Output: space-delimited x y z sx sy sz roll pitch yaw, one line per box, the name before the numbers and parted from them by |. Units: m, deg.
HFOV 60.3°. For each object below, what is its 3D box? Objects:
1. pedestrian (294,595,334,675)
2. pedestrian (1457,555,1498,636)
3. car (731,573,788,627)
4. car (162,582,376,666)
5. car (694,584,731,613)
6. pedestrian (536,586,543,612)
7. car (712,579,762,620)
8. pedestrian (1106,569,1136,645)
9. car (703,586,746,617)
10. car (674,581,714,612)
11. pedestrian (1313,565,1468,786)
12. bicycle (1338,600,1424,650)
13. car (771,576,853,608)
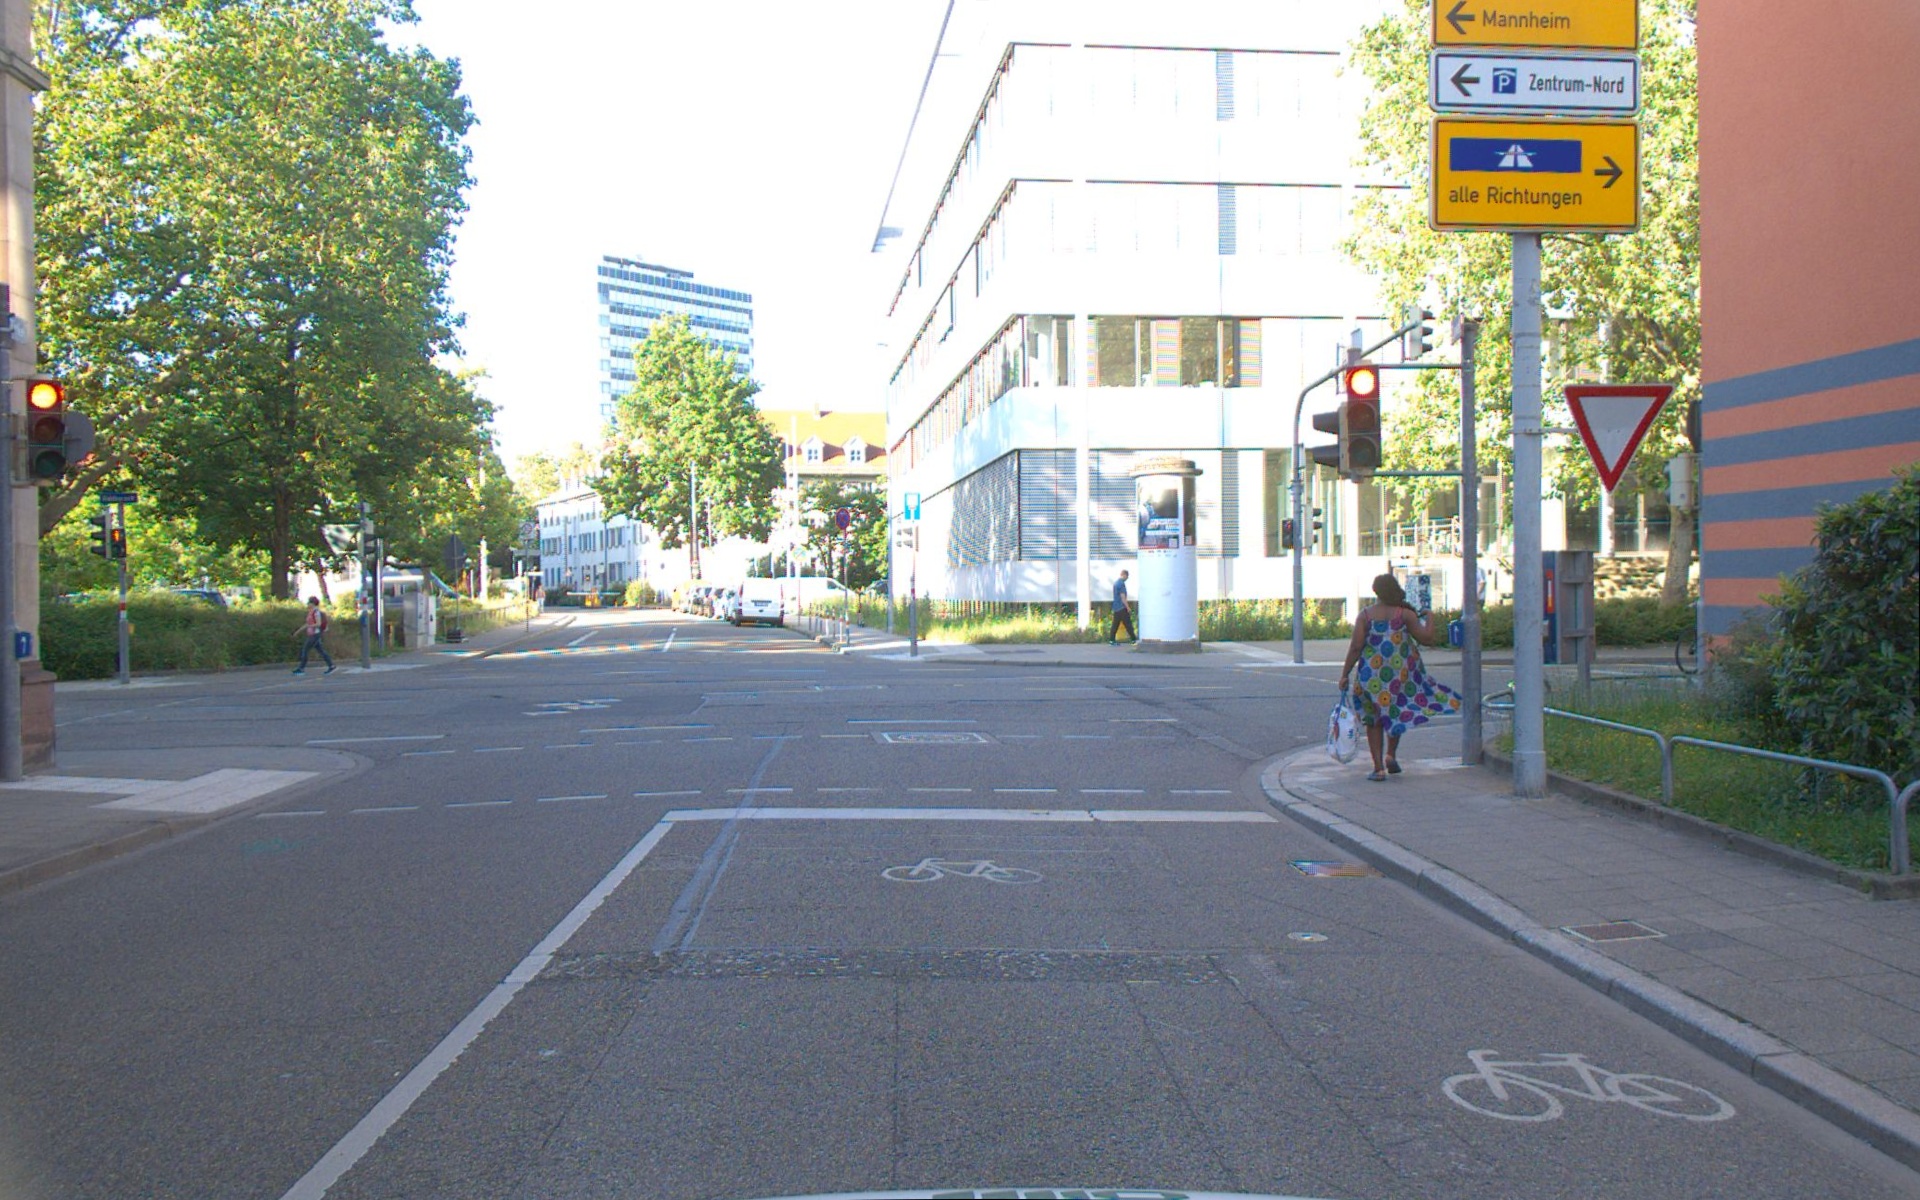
pedestrian | -13.302 0.709 34.055 0.703 1.627 0.612 -1 0 -26
pedestrian | 12.171 -0.112 38.901 0.527 1.863 1.039 -1 0 -6
car | -7.862 -0.030 64.529 2.029 1.997 4.229 -1 0 -9
car | -15.765 0.525 37.912 4.146 1.808 1.901 -1 0 -9
car | -12.849 -0.092 85.649 1.674 1.490 4.226 -1 1 -11
pedestrian | -25.150 -0.039 98.903 0.373 1.561 0.444 -1 0 -13
car | -10.330 -0.047 76.314 1.913 1.826 4.224 -1 0 -13
pedestrian | 3.786 0.167 38.937 0.639 1.766 0.812 -1 0 4
car | -11.559 0.044 81.149 1.675 1.449 4.223 -1 1 -14
car | -15.376 -0.224 95.434 2.063 1.687 4.463 -1 0 -11
pedestrian | 3.347 0.569 12.927 0.934 1.600 0.751 -5 0 6
bicycle | 9.222 0.543 36.254 0.460 1.067 1.886 -1 0 -42
car | -9.211 -0.503 102.671 4.804 1.905 1.990 1 -1 -17
